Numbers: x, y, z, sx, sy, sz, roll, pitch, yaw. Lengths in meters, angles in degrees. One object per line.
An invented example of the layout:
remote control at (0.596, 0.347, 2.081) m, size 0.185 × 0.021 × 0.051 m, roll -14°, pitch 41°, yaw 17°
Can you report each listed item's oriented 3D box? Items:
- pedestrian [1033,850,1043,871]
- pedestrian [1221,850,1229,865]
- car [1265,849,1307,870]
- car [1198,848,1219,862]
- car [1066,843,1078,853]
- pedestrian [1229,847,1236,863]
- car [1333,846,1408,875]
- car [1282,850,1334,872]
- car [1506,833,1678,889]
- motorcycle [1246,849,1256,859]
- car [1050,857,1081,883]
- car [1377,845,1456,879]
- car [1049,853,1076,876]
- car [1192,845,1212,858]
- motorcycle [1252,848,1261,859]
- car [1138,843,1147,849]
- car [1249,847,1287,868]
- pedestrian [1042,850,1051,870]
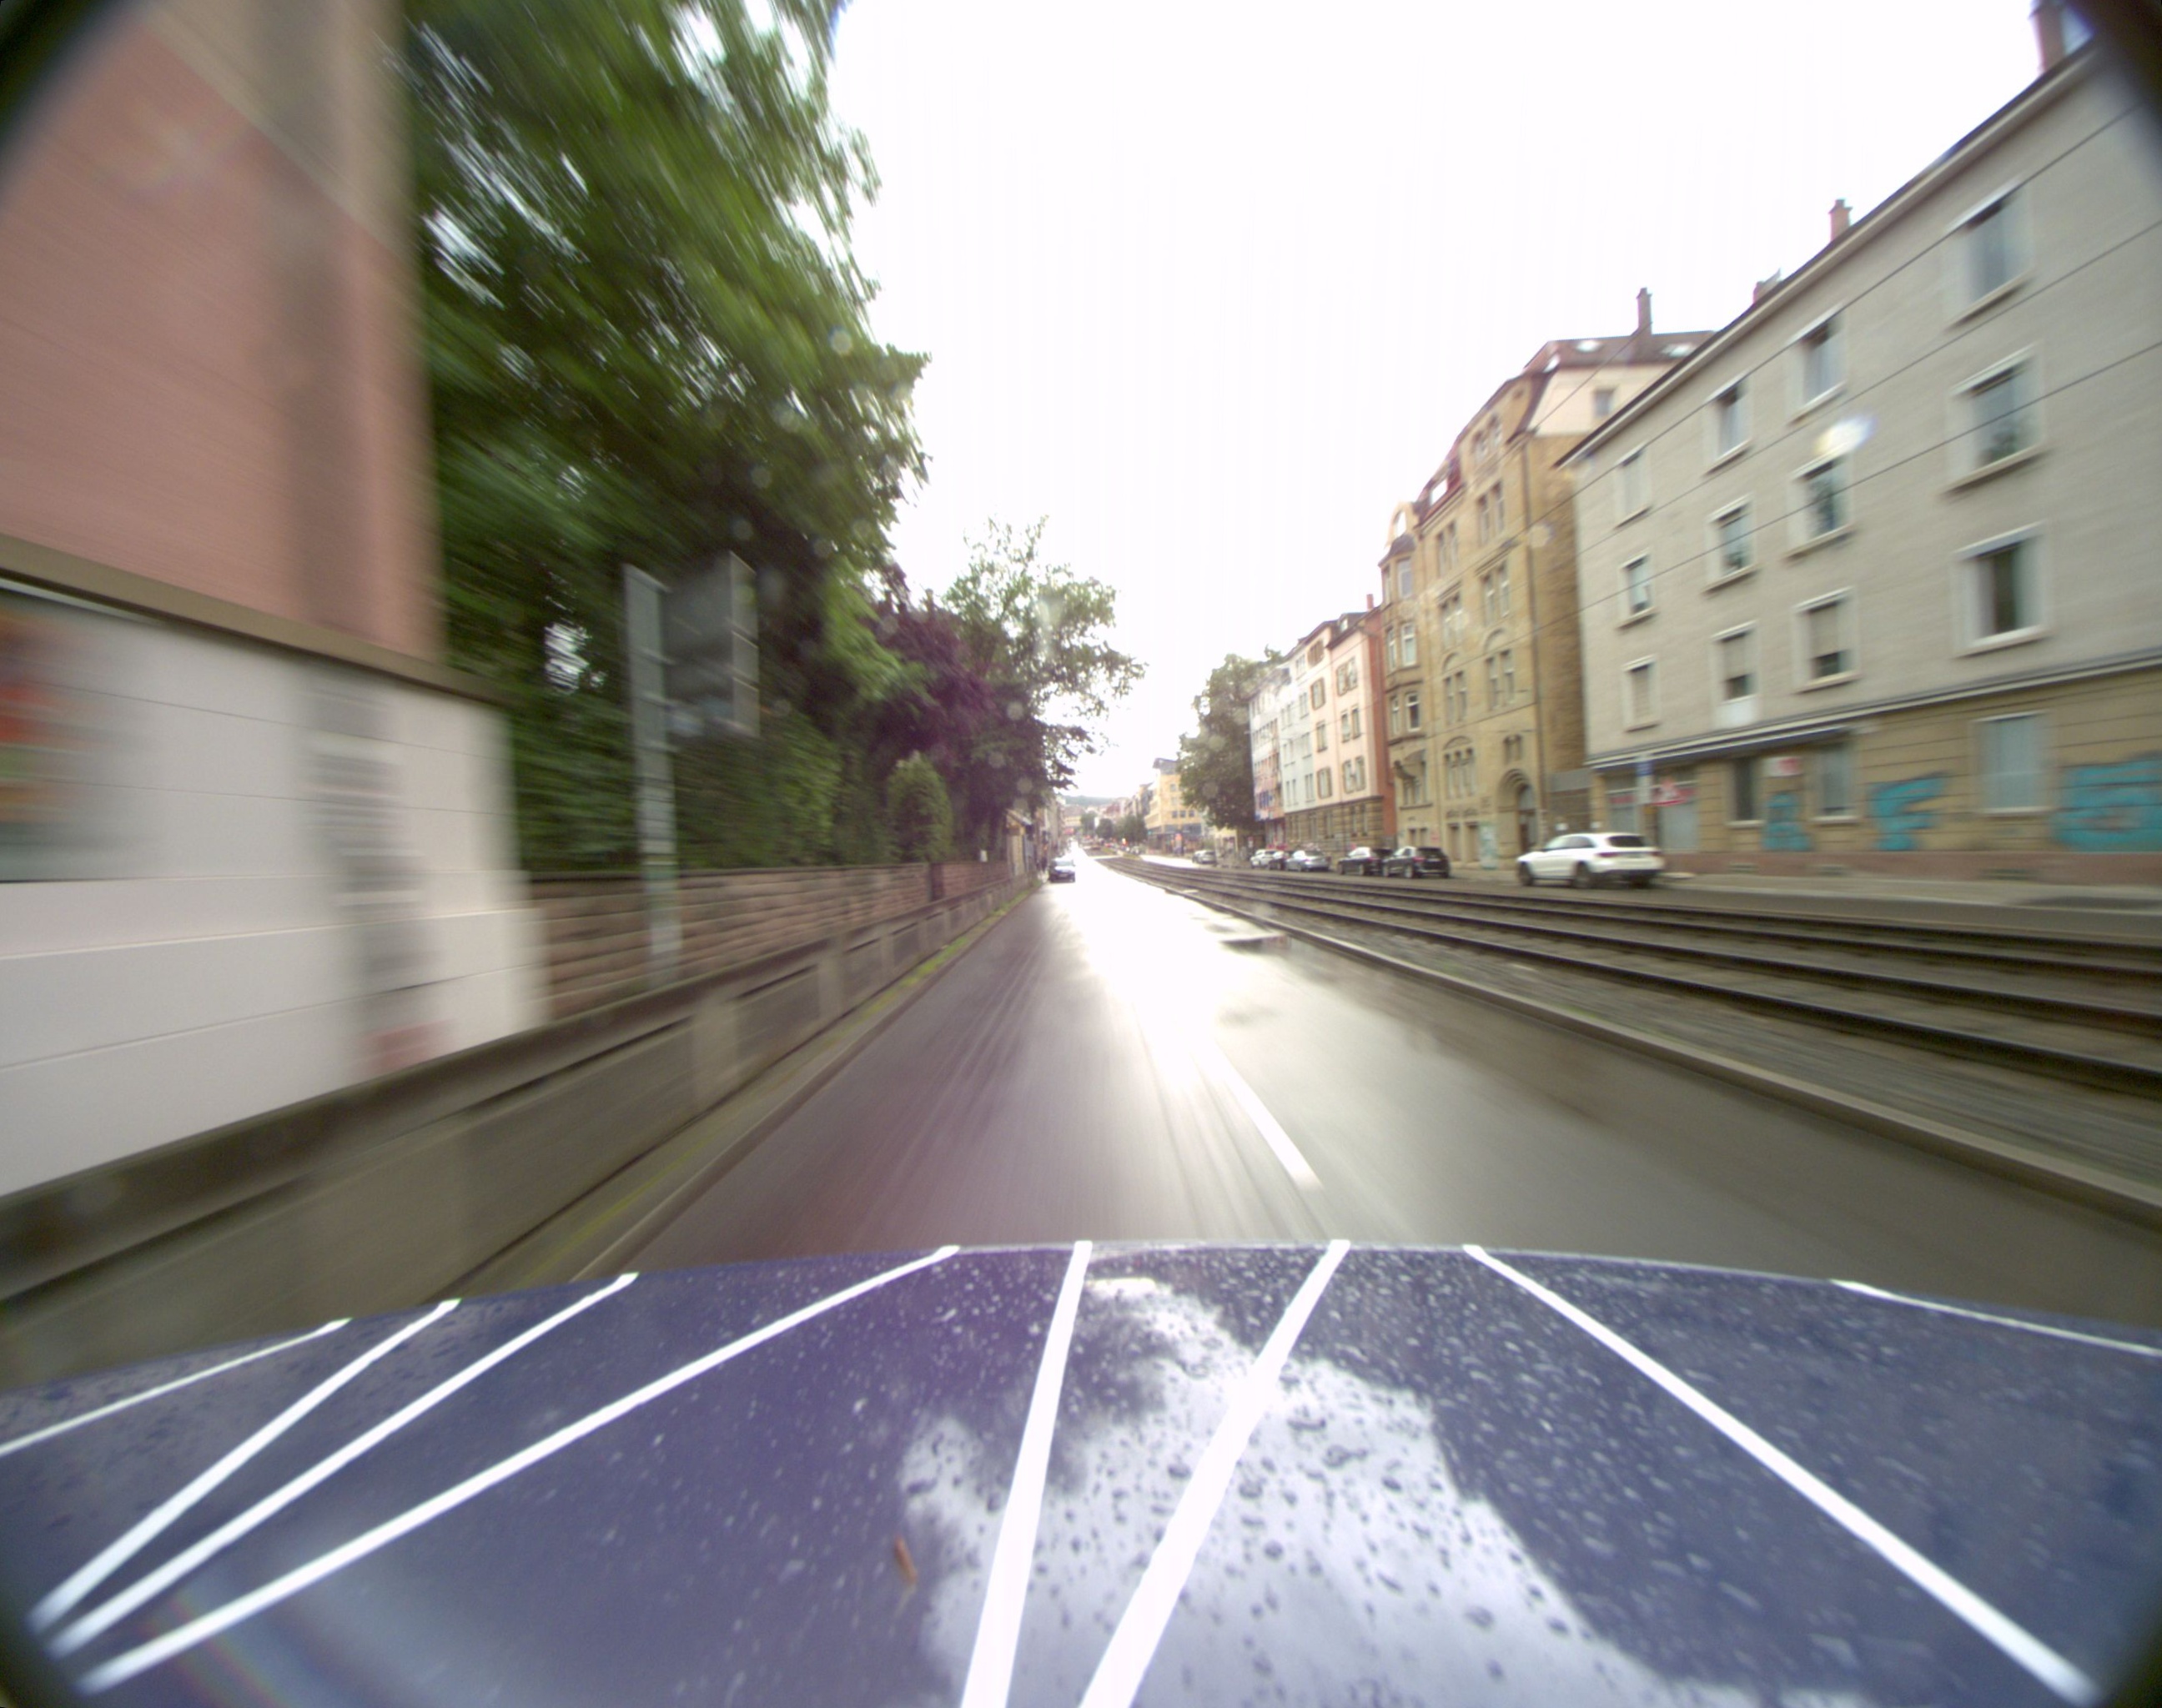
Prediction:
pedestrian at (-4.011, 0.594, 71.177) m, size 0.765 × 1.902 × 0.588 m, roll -4°, pitch 1°, yaw -2°
pedestrian at (17.363, 0.421, 91.705) m, size 0.809 × 1.858 × 0.536 m, roll -3°, pitch 0°, yaw 3°
car at (15.123, 0.376, 56.242) m, size 1.843 × 1.389 × 4.265 m, roll -2°, pitch 0°, yaw -2°
car at (15.148, 0.070, 90.445) m, size 1.843 × 1.532 × 4.228 m, roll -2°, pitch 0°, yaw 0°
car at (-1.574, -1.012, 135.539) m, size 1.998 × 1.674 × 4.124 m, roll -4°, pitch 0°, yaw 0°
pedestrian at (18.240, 0.112, 91.452) m, size 0.651 × 1.858 × 0.536 m, roll -3°, pitch 0°, yaw 3°
car at (15.178, 0.319, 40.131) m, size 1.999 × 1.447 × 5.021 m, roll 0°, pitch 0°, yaw -1°
car at (15.122, 0.413, 50.813) m, size 1.998 × 1.389 × 5.021 m, roll 0°, pitch 0°, yaw 0°
car at (15.350, 0.183, 23.210) m, size 1.999 × 1.527 × 4.748 m, roll 0°, pitch 0°, yaw -1°
motorcycle at (19.652, 0.025, 87.985) m, size 0.472 × 1.139 × 2.565 m, roll -4°, pitch 0°, yaw 0°
car at (-0.982, 1.002, 49.406) m, size 1.788 × 1.521 × 4.244 m, roll -4°, pitch 0°, yaw 0°
car at (15.253, 0.320, 34.827) m, size 1.741 × 1.447 × 4.170 m, roll 0°, pitch 0°, yaw -1°
car at (-1.348, 0.721, 54.979) m, size 1.760 × 1.521 × 4.332 m, roll -4°, pitch 0°, yaw -2°
car at (15.146, -0.352, 95.100) m, size 1.843 × 1.532 × 4.228 m, roll -2°, pitch 0°, yaw 0°
motorcycle at (19.586, -0.015, 84.859) m, size 0.437 × 1.174 × 2.017 m, roll -4°, pitch 0°, yaw 0°
car at (16.255, -2.112, 201.885) m, size 1.998 × 1.674 × 4.000 m, roll -4°, pitch 0°, yaw 0°
car at (15.141, 0.277, 61.679) m, size 1.843 × 1.596 × 4.227 m, roll -2°, pitch 0°, yaw -2°
pedestrian at (-3.209, 0.543, 71.203) m, size 0.716 × 1.879 × 0.599 m, roll -4°, pitch 1°, yaw -2°
